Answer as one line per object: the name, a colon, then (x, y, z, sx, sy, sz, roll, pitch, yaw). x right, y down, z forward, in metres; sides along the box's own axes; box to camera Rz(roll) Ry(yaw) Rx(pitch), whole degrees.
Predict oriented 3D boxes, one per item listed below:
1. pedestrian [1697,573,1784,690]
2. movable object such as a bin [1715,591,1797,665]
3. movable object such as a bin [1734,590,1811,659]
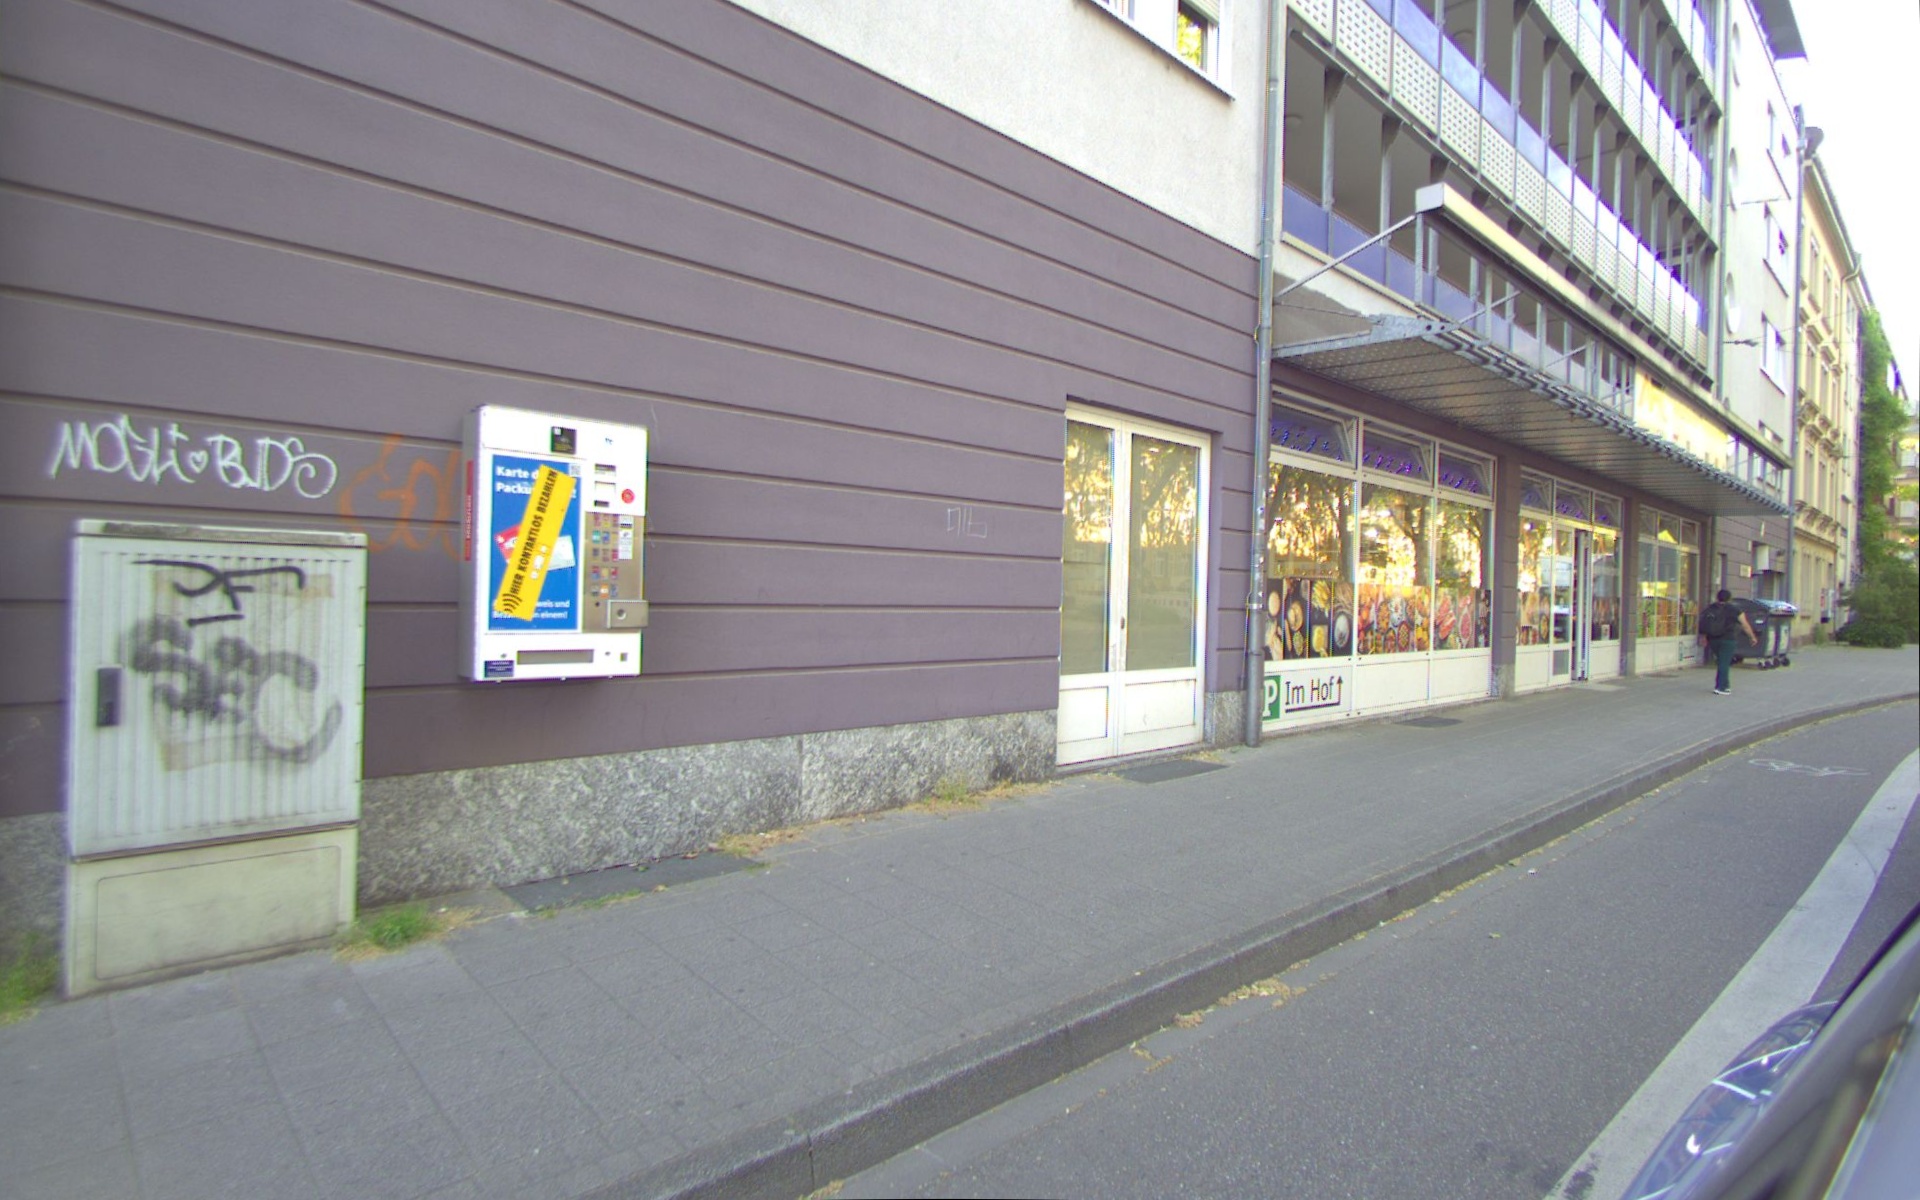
pedestrian: (11.454, 0.441, 14.854, 0.862, 1.611, 0.613, 5, 3, 44)
movable object such as a bin: (16.331, 0.546, 20.768, 0.923, 1.444, 1.158, 1, 1, -40)
movable object such as a bin: (17.782, 0.517, 22.153, 0.923, 1.444, 1.158, 1, 1, -40)
